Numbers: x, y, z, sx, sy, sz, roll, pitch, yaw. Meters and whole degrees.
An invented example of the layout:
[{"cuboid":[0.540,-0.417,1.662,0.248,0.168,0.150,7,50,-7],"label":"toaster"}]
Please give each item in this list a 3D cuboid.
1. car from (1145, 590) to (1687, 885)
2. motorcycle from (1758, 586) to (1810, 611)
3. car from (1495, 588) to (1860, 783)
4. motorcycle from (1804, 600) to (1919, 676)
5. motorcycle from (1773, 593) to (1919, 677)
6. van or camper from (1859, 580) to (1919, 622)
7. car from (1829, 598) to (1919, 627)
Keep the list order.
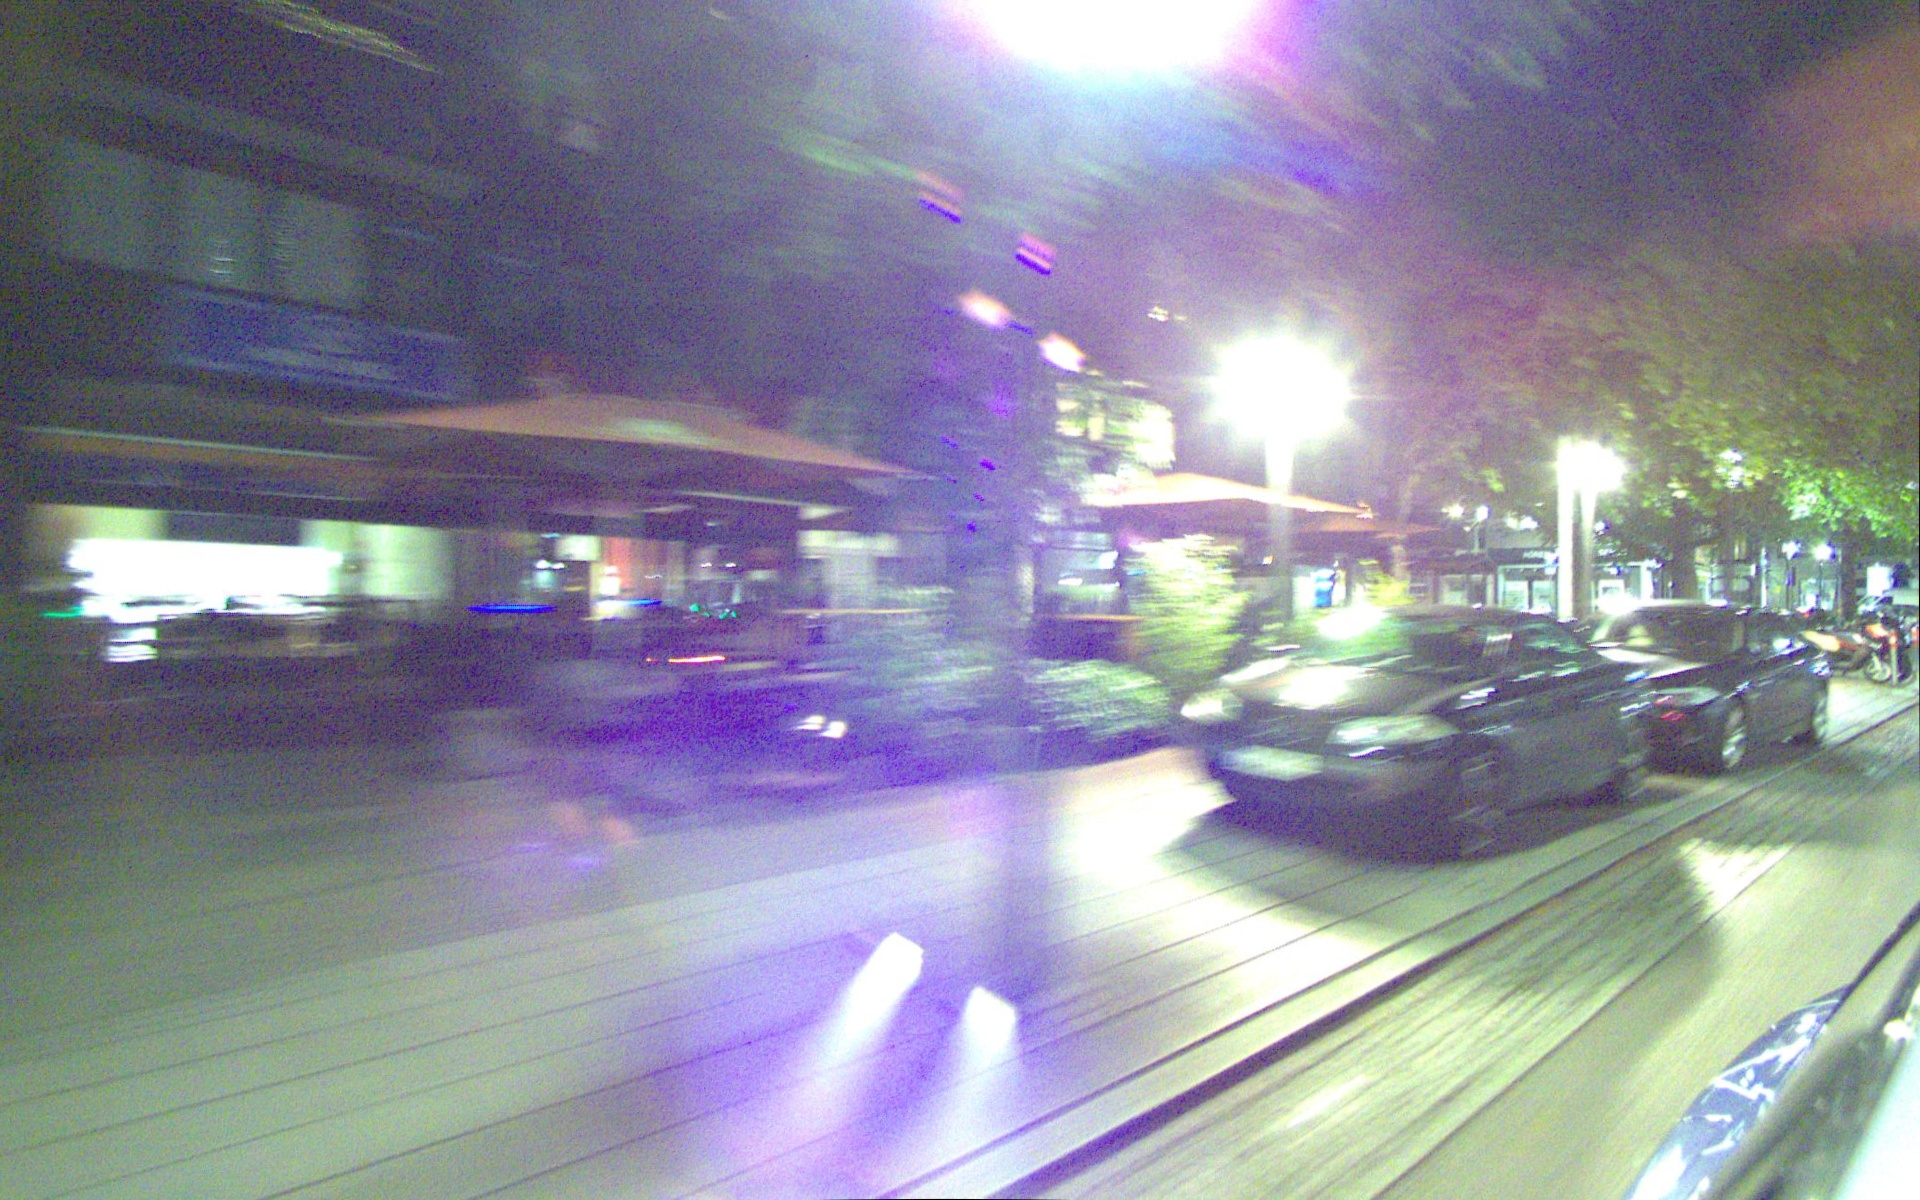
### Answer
[{"cuboid":[3.252,0.676,6.873,4.029,1.394,1.666,0,2,-38],"label":"car"},{"cuboid":[42.901,-0.065,52.704,2.183,1.287,0.531,1,0,6],"label":"motorcycle"},{"cuboid":[7.214,0.670,10.008,4.385,1.482,1.758,0,2,-38],"label":"car"},{"cuboid":[17.220,0.681,19.055,0.505,1.313,2.175,1,1,-12],"label":"motorcycle"},{"cuboid":[16.272,0.594,18.456,0.647,1.408,2.276,1,1,-16],"label":"motorcycle"},{"cuboid":[59.818,0.086,62.537,5.971,2.565,2.150,1,0,18],"label":"van or camper"},{"cuboid":[49.129,0.669,53.573,4.479,1.474,1.630,1,0,14],"label":"car"}]
